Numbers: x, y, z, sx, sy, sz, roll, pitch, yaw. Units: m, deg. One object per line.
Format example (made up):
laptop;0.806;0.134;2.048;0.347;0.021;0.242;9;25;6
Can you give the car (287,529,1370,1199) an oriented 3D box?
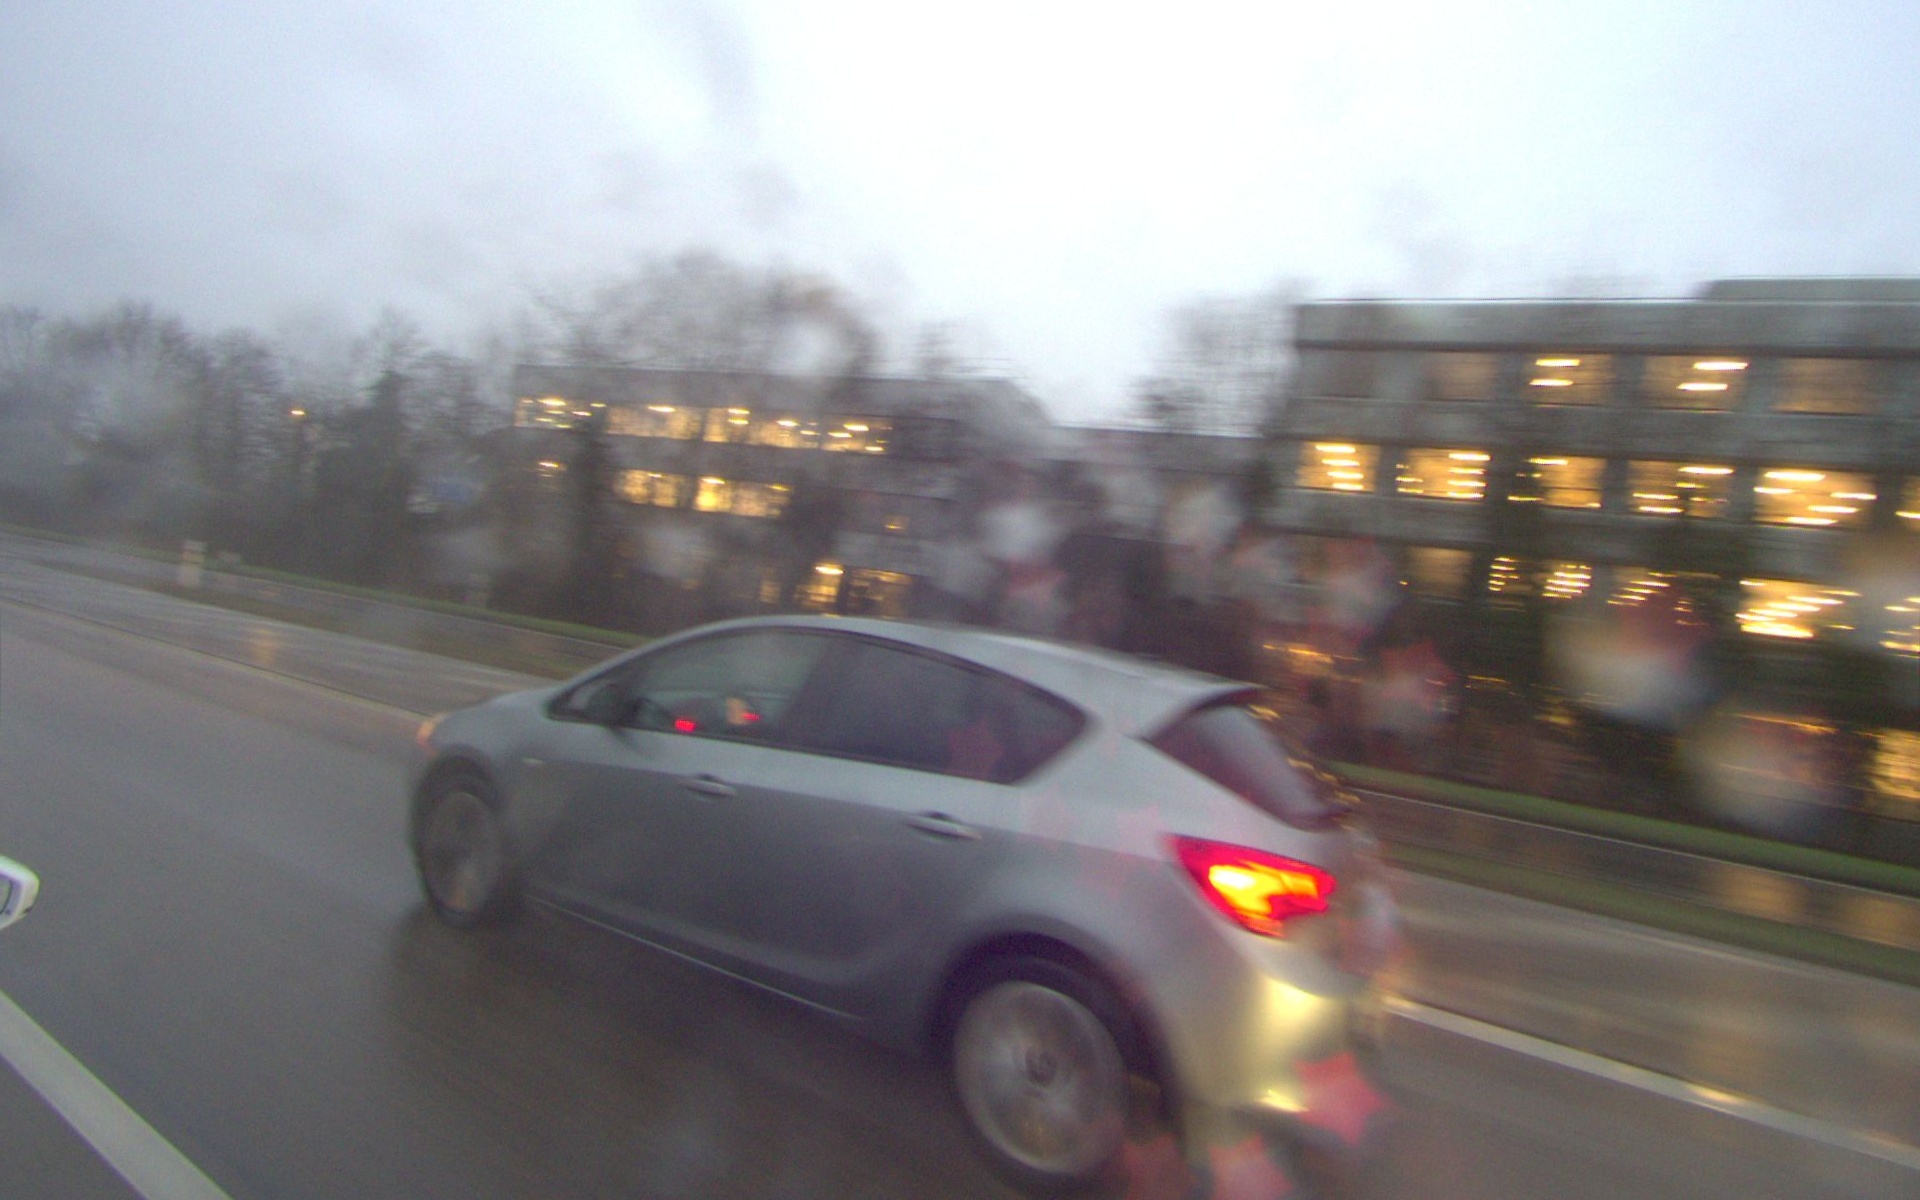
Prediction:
car;-0.703;0.722;4.280;4.191;1.519;1.853;6;-2;31
